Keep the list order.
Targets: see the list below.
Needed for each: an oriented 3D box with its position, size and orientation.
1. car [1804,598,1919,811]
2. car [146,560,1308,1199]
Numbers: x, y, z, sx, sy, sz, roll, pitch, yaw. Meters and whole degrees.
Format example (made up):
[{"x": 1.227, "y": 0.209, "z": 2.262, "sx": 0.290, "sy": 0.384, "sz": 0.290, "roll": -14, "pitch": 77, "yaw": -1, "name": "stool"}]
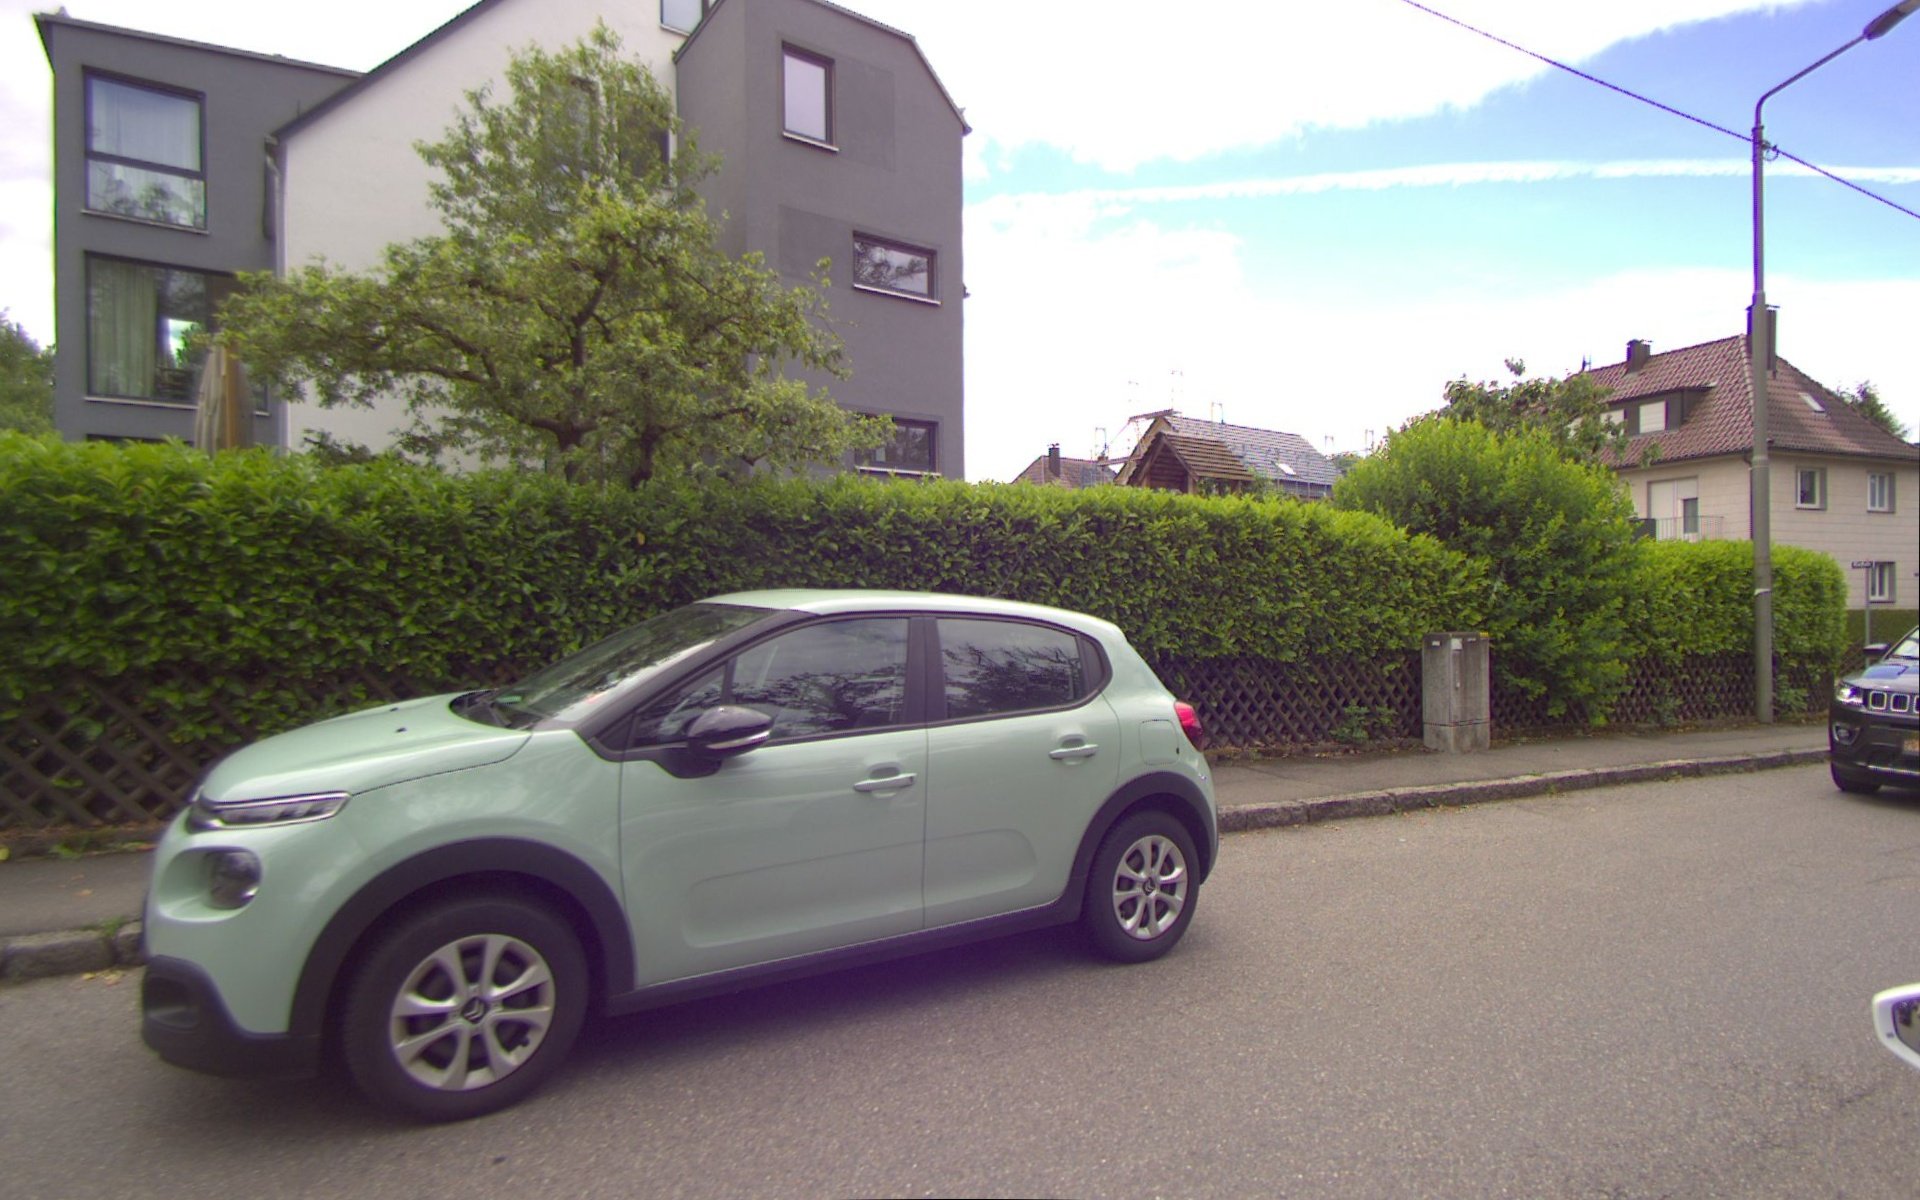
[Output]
[{"x": 9.227, "y": 0.814, "z": 8.676, "sx": 4.277, "sy": 1.618, "sz": 1.823, "roll": 0, "pitch": 0, "yaw": -33, "name": "car"}, {"x": -0.631, "y": 0.700, "z": 4.134, "sx": 3.969, "sy": 1.520, "sz": 1.774, "roll": 1, "pitch": 0, "yaw": -31, "name": "car"}]
